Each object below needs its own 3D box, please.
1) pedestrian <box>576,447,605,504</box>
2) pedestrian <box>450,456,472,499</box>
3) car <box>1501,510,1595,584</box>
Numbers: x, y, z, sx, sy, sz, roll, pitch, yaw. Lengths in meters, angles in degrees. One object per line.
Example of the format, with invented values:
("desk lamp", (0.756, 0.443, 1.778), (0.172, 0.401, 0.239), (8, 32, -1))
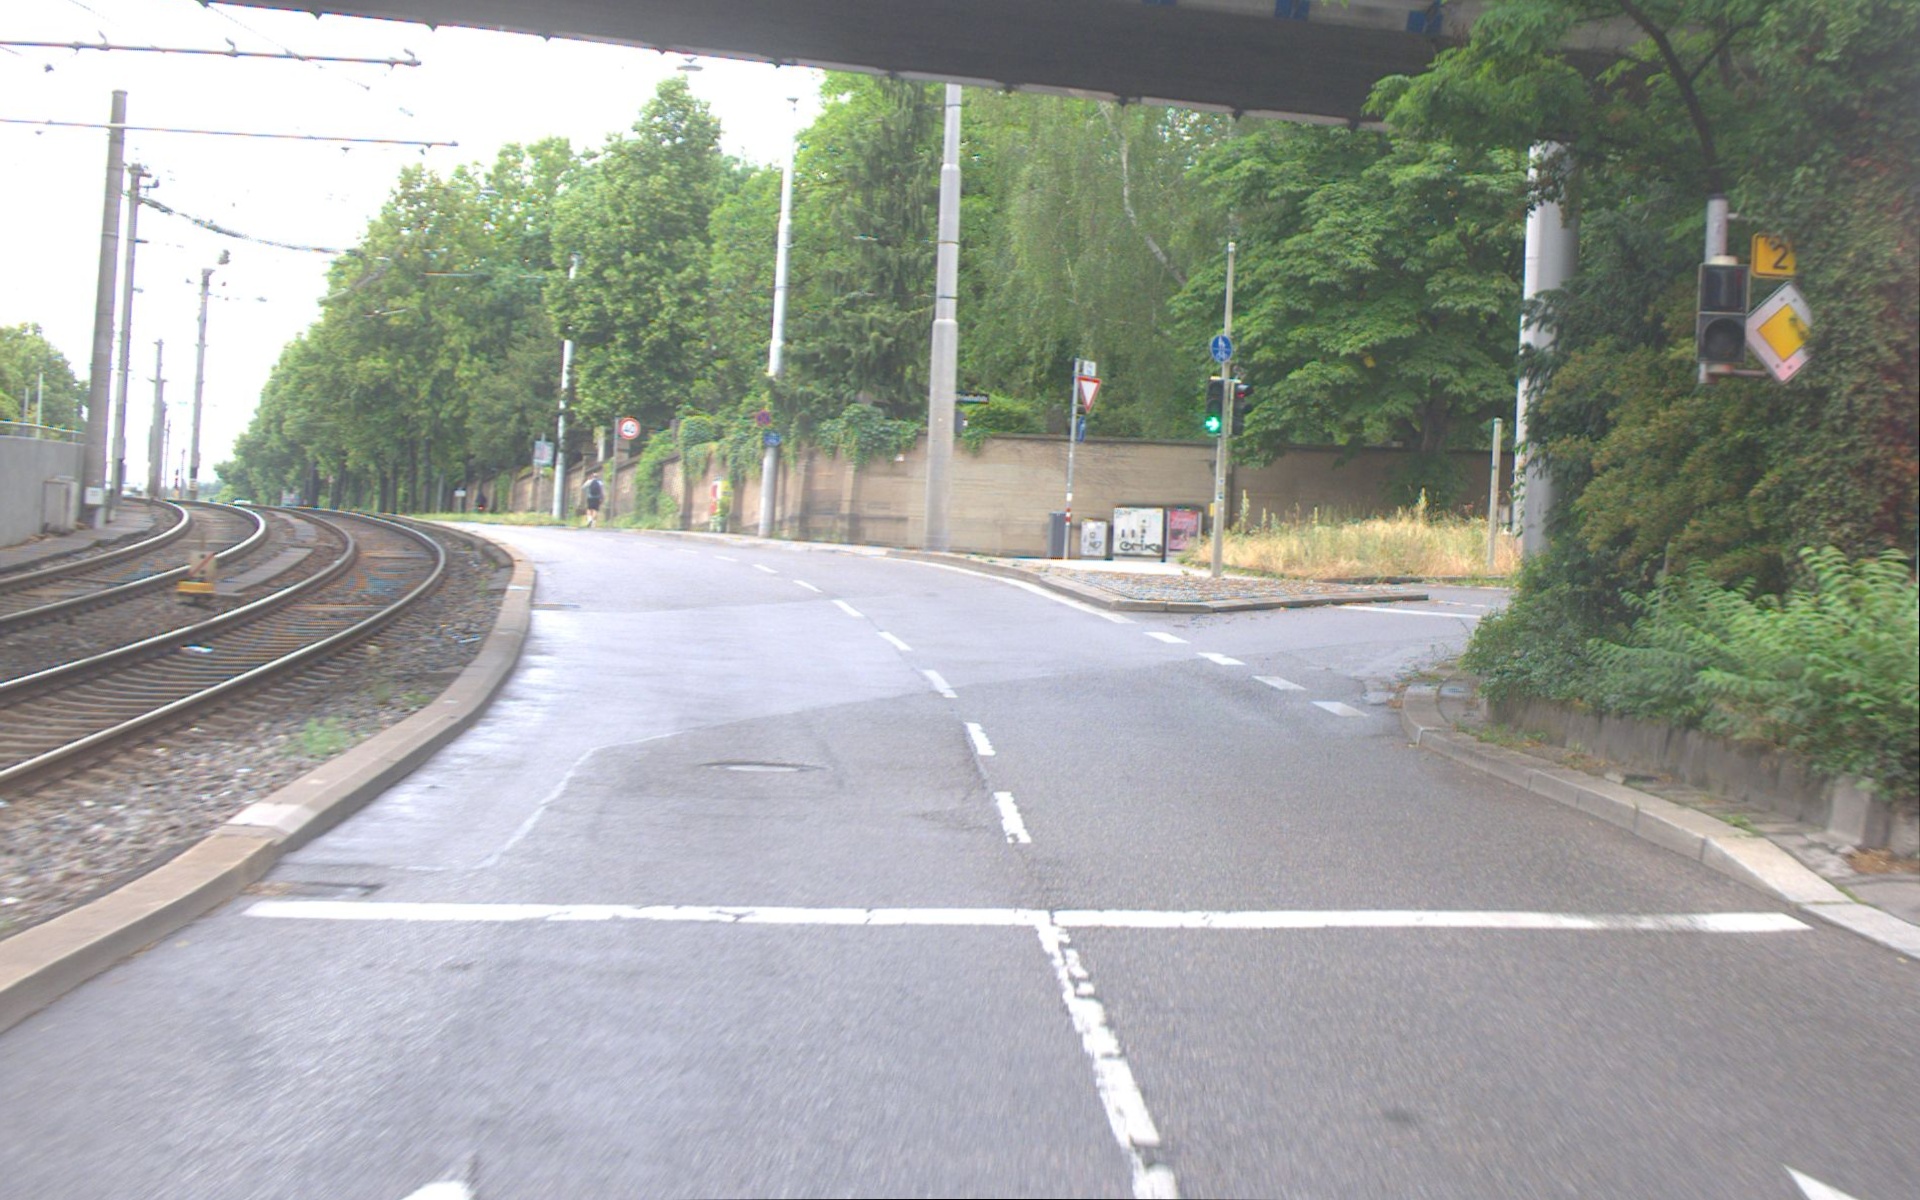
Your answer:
("pedestrian", (-12.210, -4.112, 113.669), (0.719, 1.843, 0.783), (4, 0, -14))
("pedestrian", (-20.349, -4.984, 140.268), (0.719, 1.681, 0.729), (4, 0, -14))
("car", (12.001, -1.071, 69.975), (1.754, 1.401, 3.998), (2, 1, 11))
